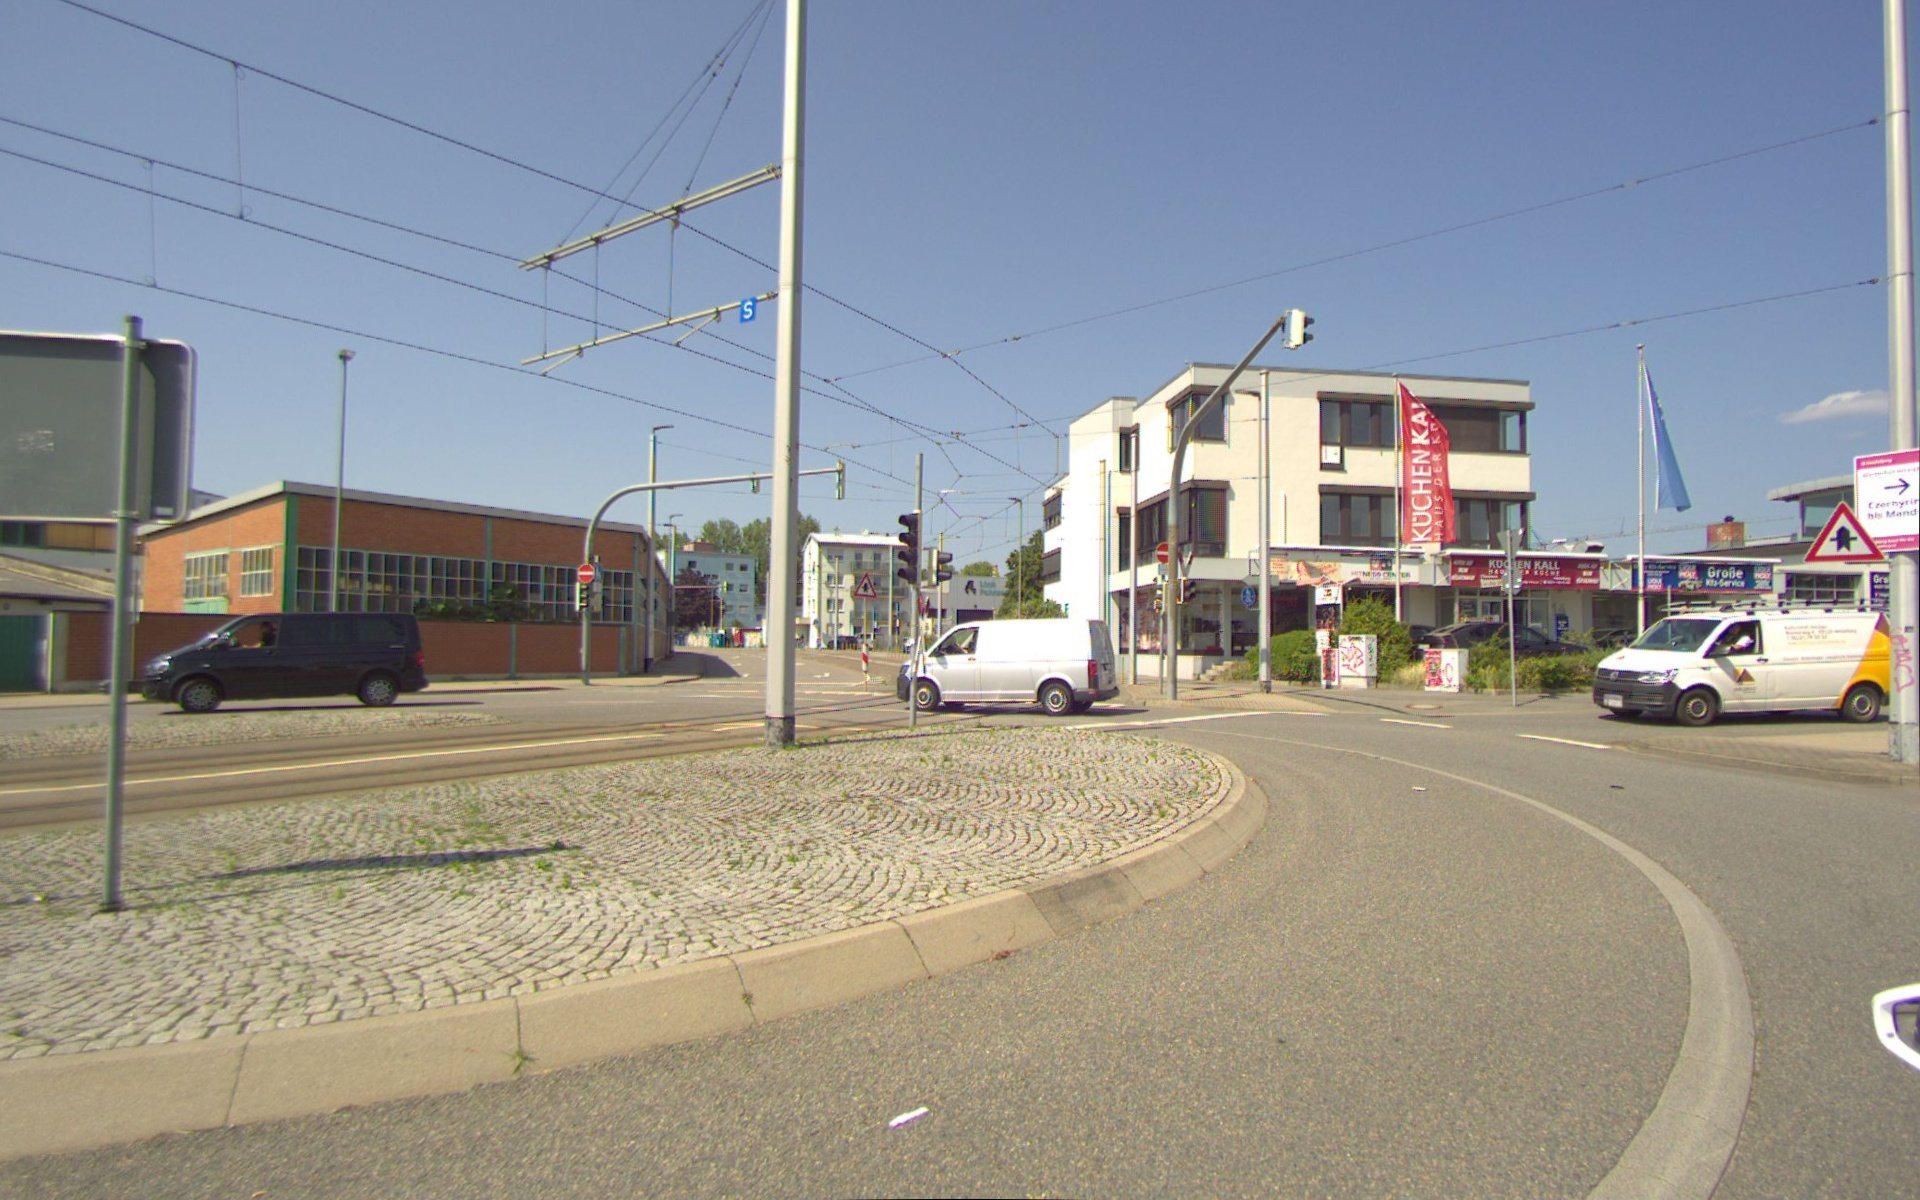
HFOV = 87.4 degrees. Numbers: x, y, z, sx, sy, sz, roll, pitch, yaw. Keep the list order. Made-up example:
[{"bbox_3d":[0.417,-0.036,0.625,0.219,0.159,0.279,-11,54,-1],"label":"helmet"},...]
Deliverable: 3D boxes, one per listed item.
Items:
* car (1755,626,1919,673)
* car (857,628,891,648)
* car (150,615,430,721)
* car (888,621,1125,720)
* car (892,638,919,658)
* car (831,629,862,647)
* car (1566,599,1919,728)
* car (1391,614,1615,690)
[{"bbox_3d":[31.228,1.774,35.722,4.840,1.609,1.884,1,-4,-11],"label":"car"},{"bbox_3d":[-9.582,4.264,111.469,1.981,2.039,3.960,2,-4,-37],"label":"car"},{"bbox_3d":[-13.631,1.298,20.707,4.592,1.935,2.078,0,-2,-35],"label":"car"},{"bbox_3d":[0.997,1.448,21.605,4.736,1.961,1.933,-1,-2,22],"label":"car"},{"bbox_3d":[-5.152,4.544,94.857,1.965,1.806,3.993,0,-3,-11],"label":"car"},{"bbox_3d":[-12.534,4.166,110.673,1.977,1.884,3.969,1,-4,-31],"label":"car"},{"bbox_3d":[13.978,1.098,18.146,4.838,2.142,2.028,0,-1,-2],"label":"car"},{"bbox_3d":[14.713,1.395,27.374,5.182,1.991,1.964,0,-2,-7],"label":"car"}]
